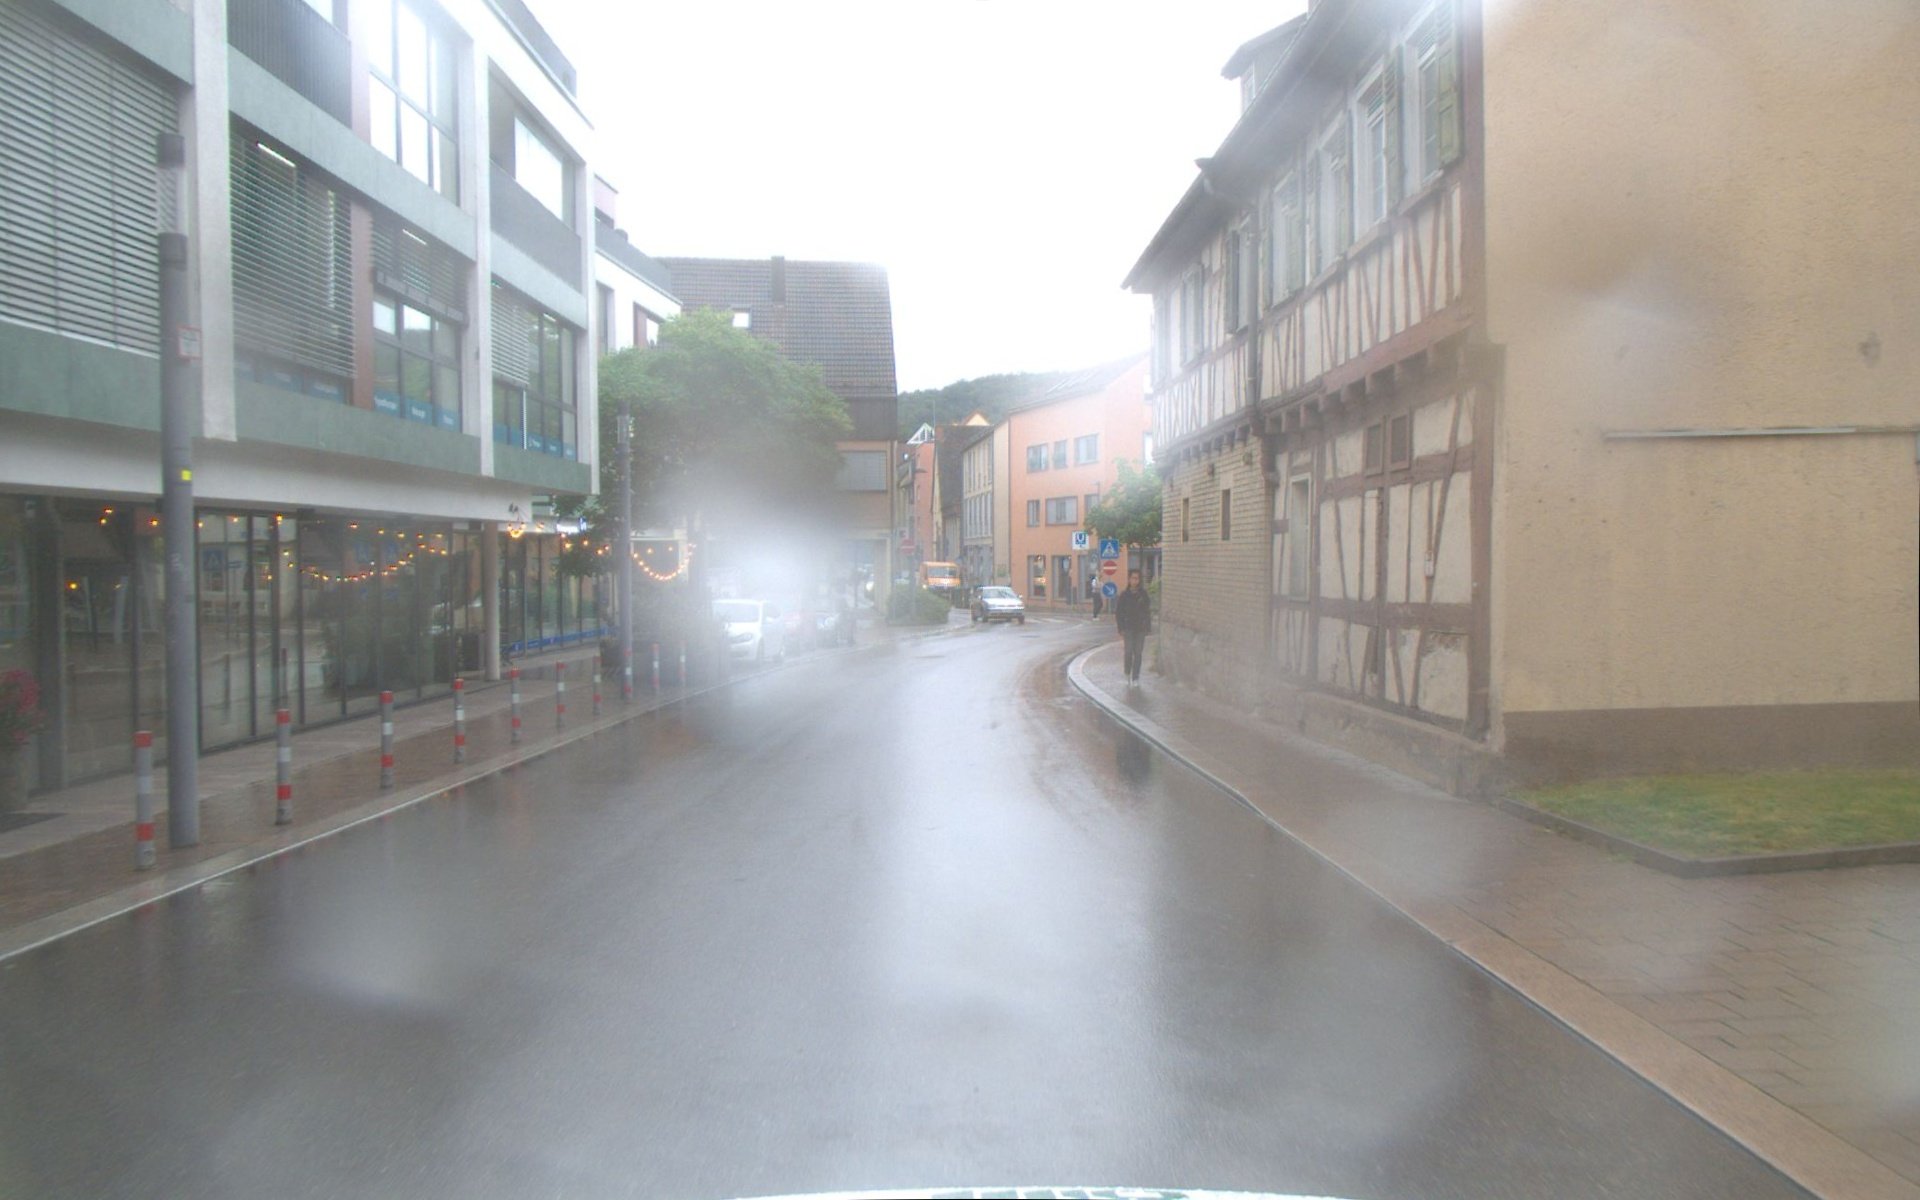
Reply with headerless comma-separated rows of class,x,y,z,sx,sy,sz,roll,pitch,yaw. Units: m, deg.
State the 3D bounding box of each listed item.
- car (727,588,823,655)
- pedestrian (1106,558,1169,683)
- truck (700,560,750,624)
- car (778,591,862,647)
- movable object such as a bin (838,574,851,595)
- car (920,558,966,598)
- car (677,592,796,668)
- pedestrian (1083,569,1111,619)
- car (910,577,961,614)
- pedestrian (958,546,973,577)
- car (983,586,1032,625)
car,-4.703,0.515,42.573,1.749,1.603,4.109,-1,0,4
pedestrian,2.809,0.317,26.228,0.794,1.918,0.907,-3,1,-3
truck,-8.902,-0.344,62.885,1.565,2.097,3.192,-3,5,-4
car,-3.972,0.501,47.531,1.678,1.483,3.913,0,1,6
movable object such as a bin,-7.980,-1.088,114.131,0.819,1.406,0.852,-1,1,-11
car,-1.008,-1.250,96.339,2.064,2.183,4.860,-3,1,-7
car,-4.886,0.613,36.729,1.749,1.525,4.457,-1,0,4
pedestrian,5.419,-0.250,65.412,0.845,1.948,0.756,0,1,30
car,-1.057,-0.208,70.677,1.682,1.483,3.903,0,1,-8
pedestrian,0.340,-2.532,108.517,0.850,2.048,0.706,-1,1,-9
car,1.897,0.184,67.447,1.754,1.442,4.028,-3,1,-1
